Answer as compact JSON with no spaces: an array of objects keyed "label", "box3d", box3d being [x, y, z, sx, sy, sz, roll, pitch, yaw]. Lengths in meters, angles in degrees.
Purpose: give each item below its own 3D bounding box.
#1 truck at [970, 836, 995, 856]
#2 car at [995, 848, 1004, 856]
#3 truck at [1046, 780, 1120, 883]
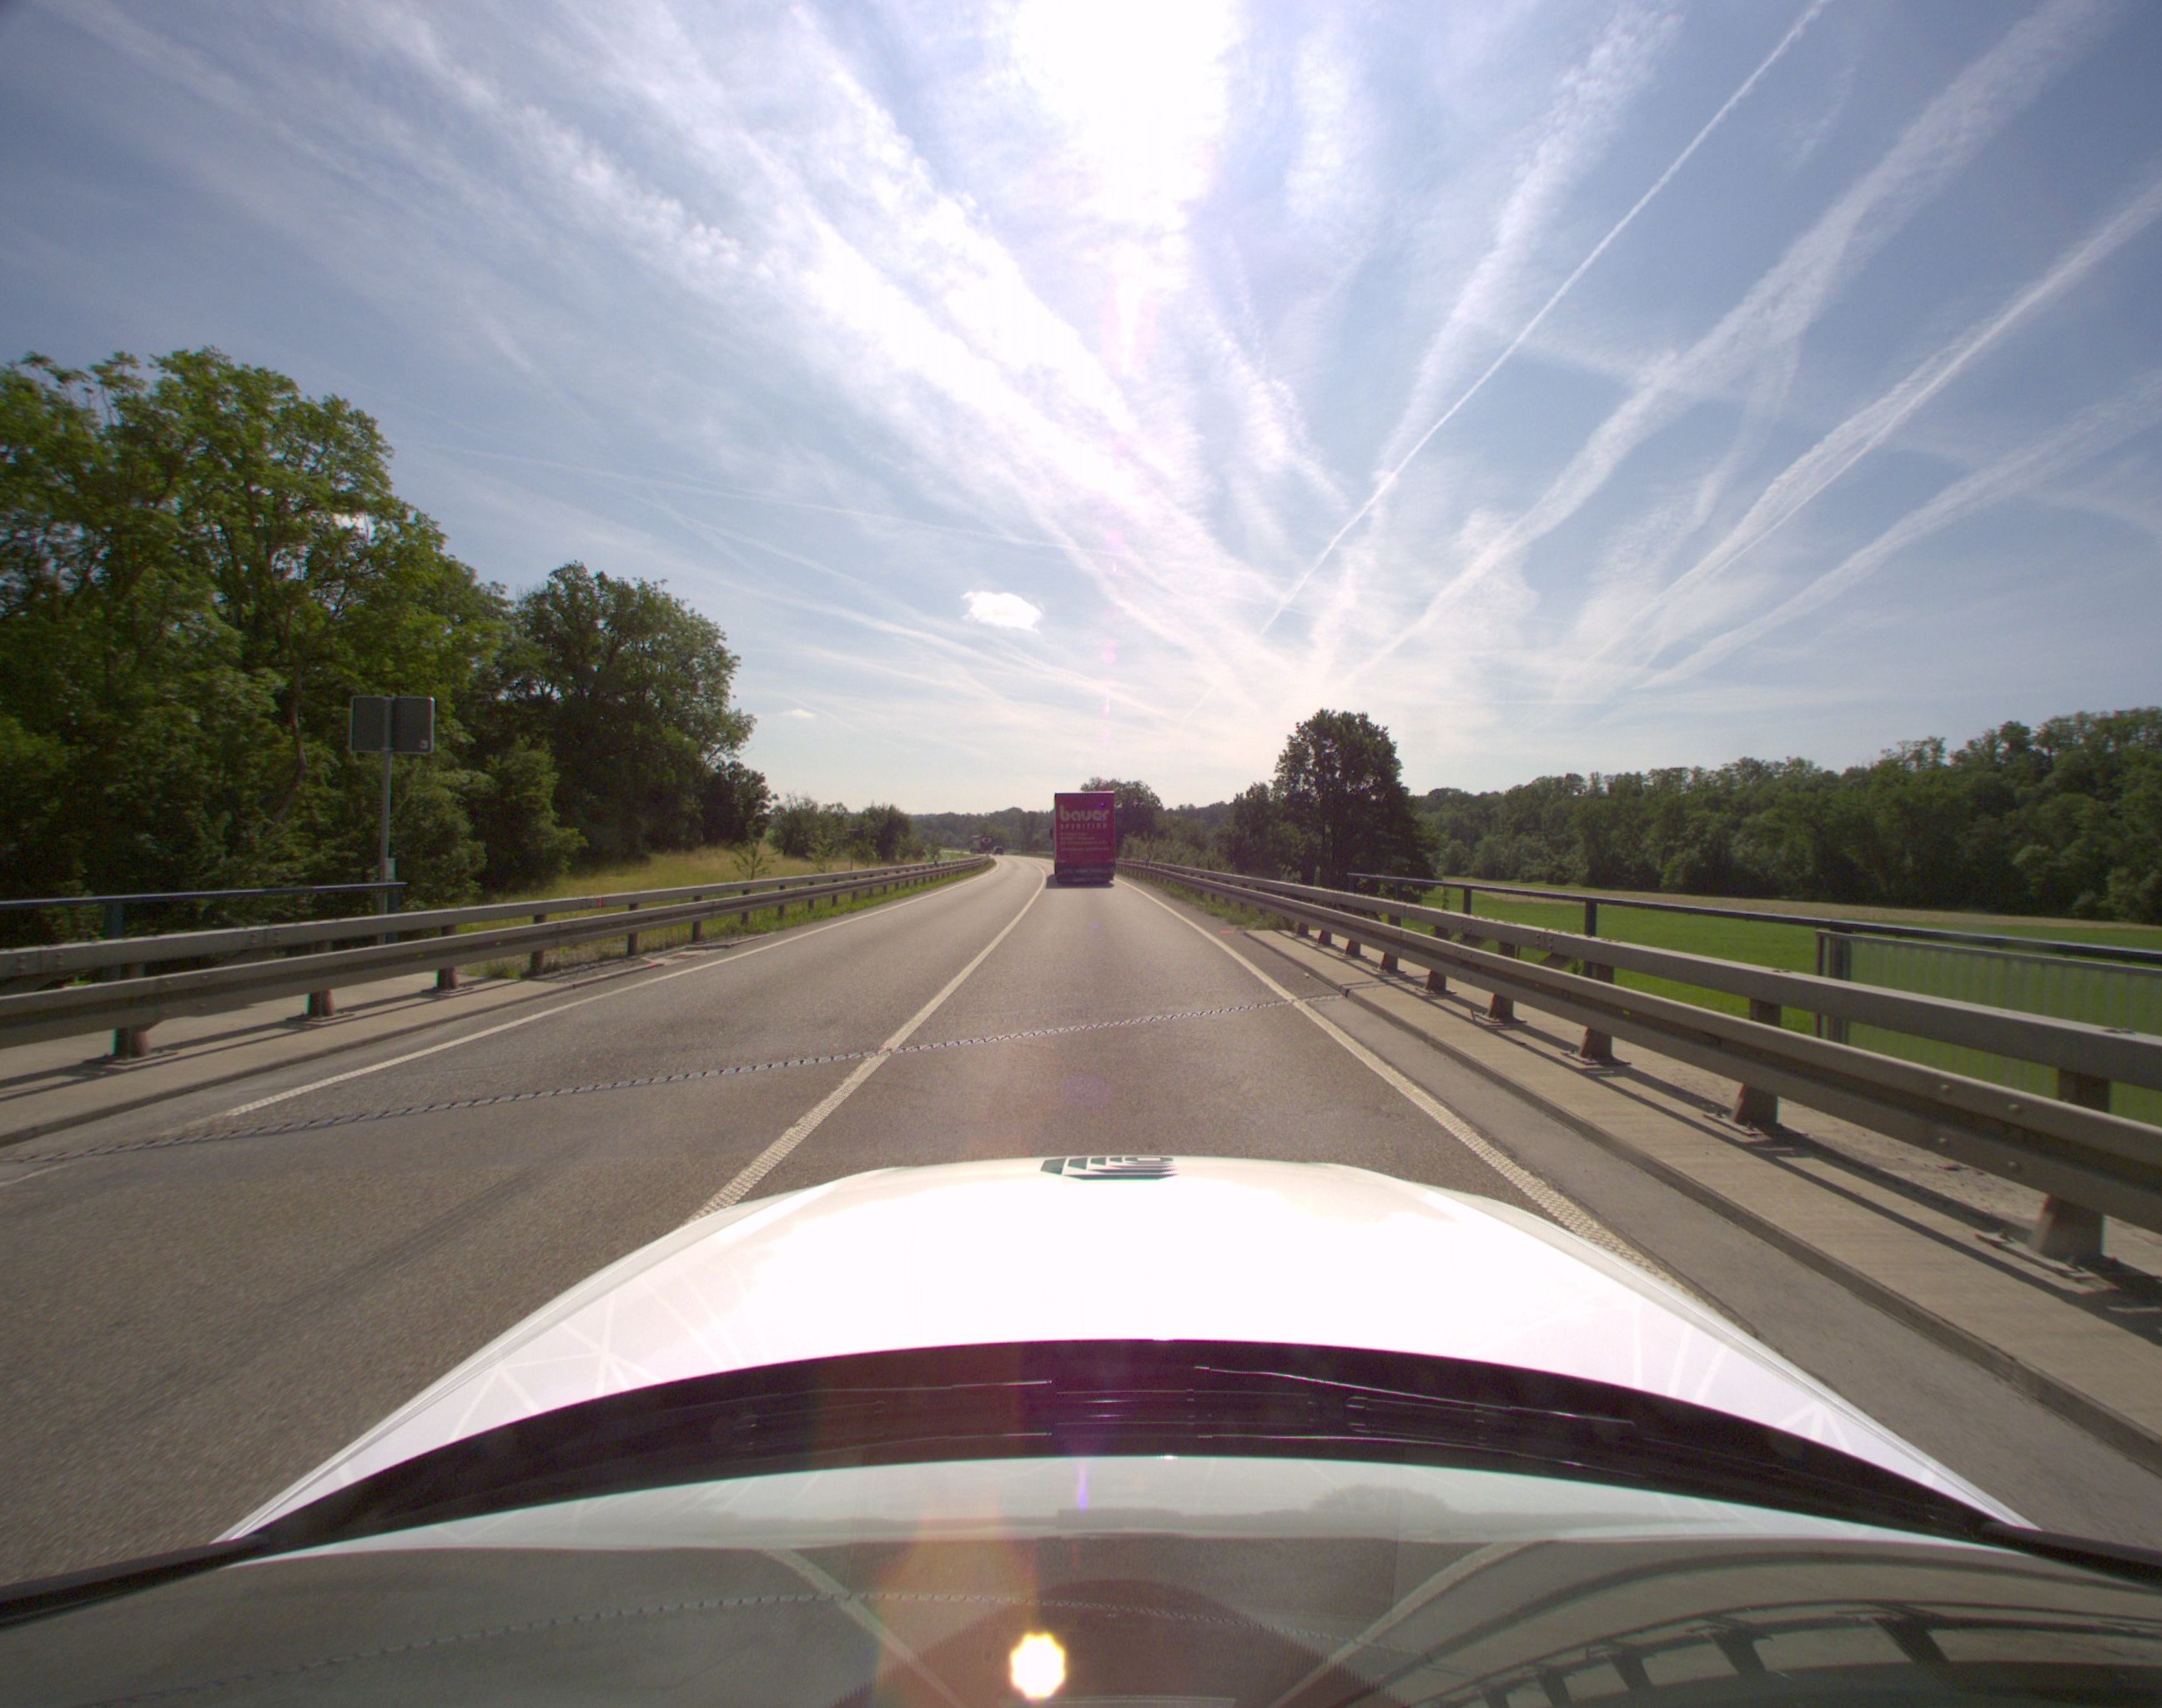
[{"label":"truck","box3d":[-22.459,-1.805,185.461,3.648,4.292,11.918,-1,0,-16]},{"label":"car","box3d":[-16.070,-0.388,160.153,1.580,1.501,3.867,0,1,-7]},{"label":"truck","box3d":[0.045,-0.963,38.121,3.085,4.262,8.311,-1,0,-1]}]
